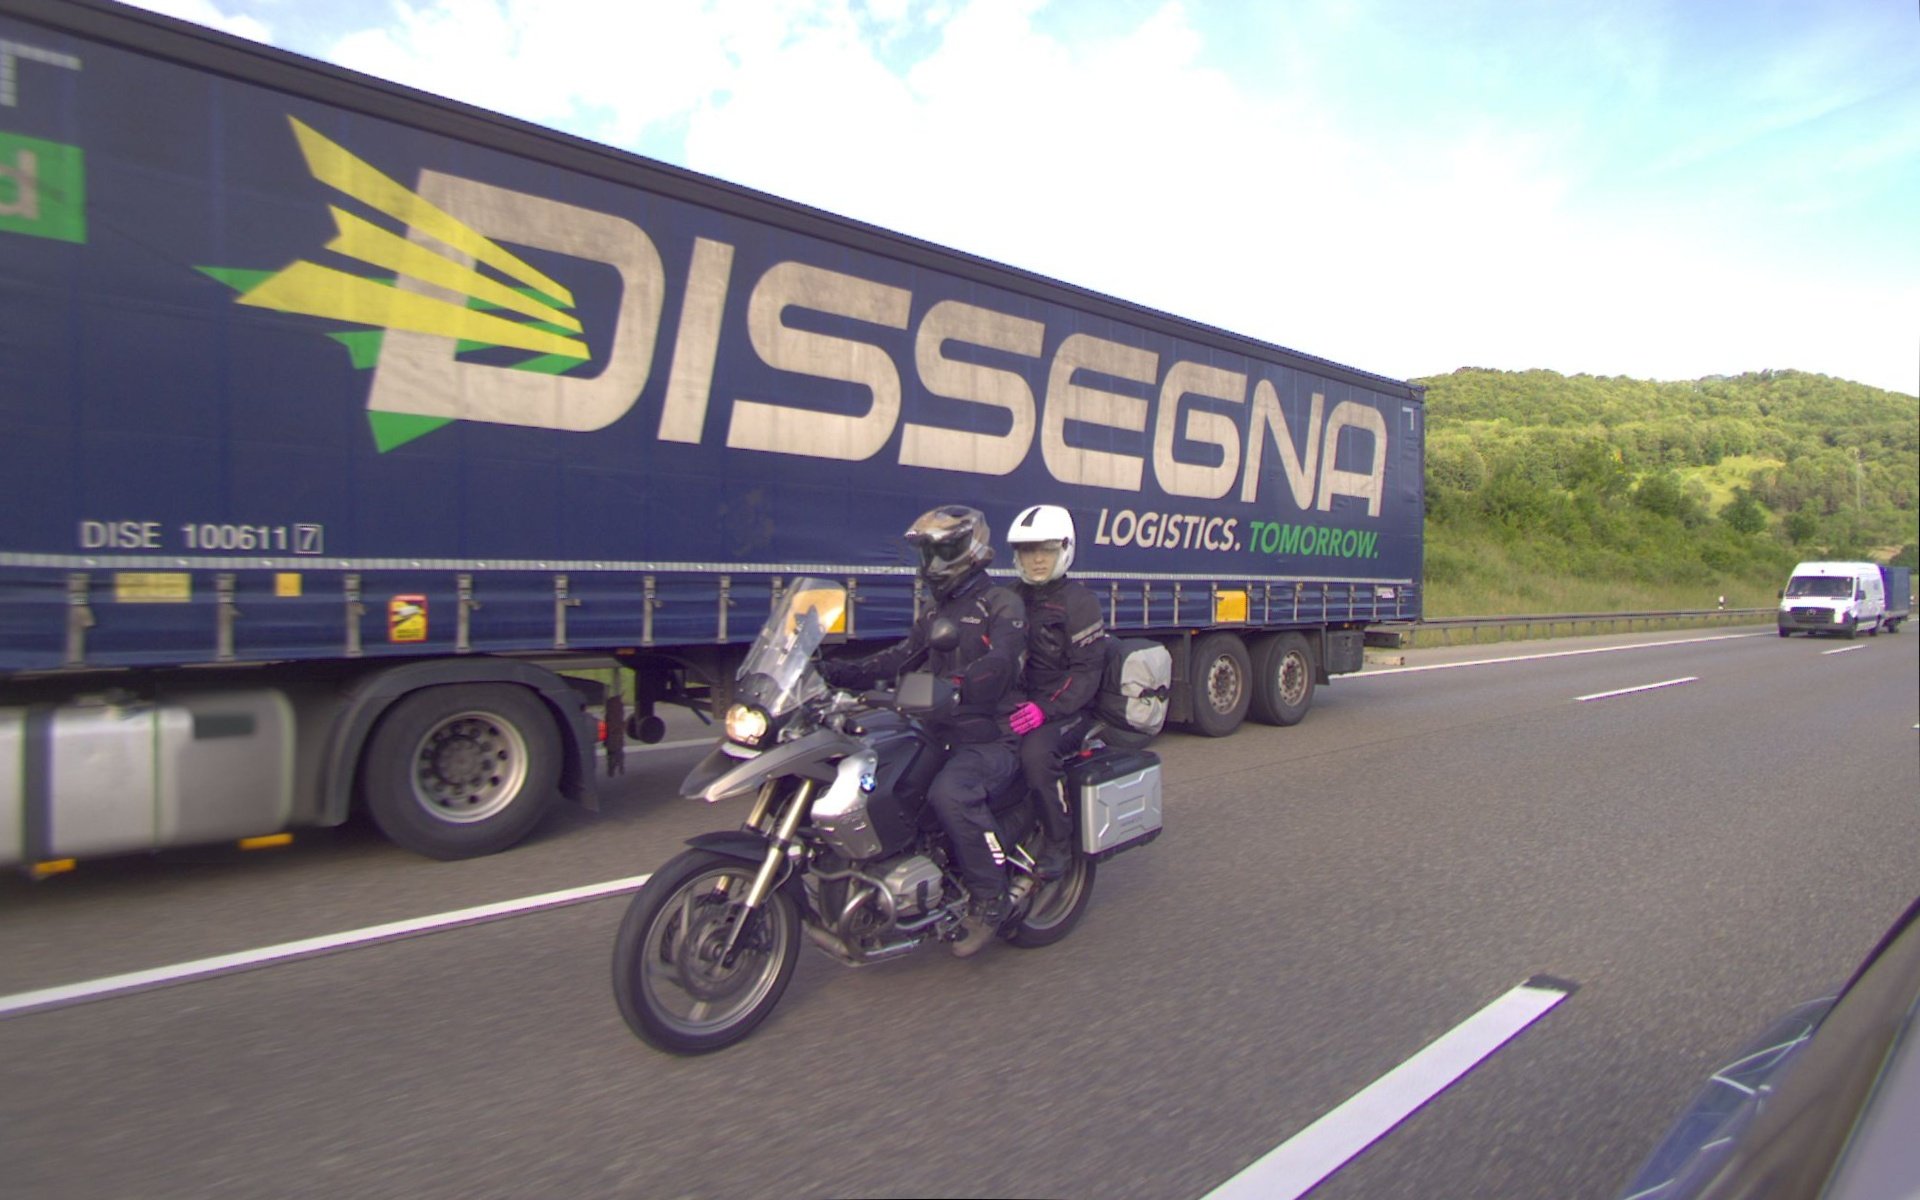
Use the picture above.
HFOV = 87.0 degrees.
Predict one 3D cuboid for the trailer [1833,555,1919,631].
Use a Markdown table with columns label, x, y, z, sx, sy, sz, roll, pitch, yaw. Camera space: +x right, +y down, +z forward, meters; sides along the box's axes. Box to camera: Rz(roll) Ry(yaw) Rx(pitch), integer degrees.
| label | x | y | z | sx | sy | sz | roll | pitch | yaw |
| --- | --- | --- | --- | --- | --- | --- | --- | --- | --- |
| trailer | 35.709 | -0.288 | 39.225 | 5.155 | 2.760 | 1.998 | 0 | 0 | -39 |

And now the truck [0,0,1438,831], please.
| label | x | y | z | sx | sy | sz | roll | pitch | yaw |
| --- | --- | --- | --- | --- | --- | --- | --- | --- | --- |
| truck | -1.447 | -1.109 | 8.317 | 17.421 | 4.042 | 2.969 | 0 | 0 | -41 |

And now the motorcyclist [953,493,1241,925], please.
| label | x | y | z | sx | sy | sz | roll | pitch | yaw |
| --- | --- | --- | --- | --- | --- | --- | --- | --- | --- |
| motorcyclist | 0.550 | 0.381 | 4.187 | 0.783 | 1.534 | 0.879 | 0 | 0 | -37 |

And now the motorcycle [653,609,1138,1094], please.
| label | x | y | z | sx | sy | sz | roll | pitch | yaw |
| --- | --- | --- | --- | --- | --- | --- | --- | --- | --- |
| motorcycle | -0.165 | 0.724 | 3.669 | 1.707 | 1.356 | 0.628 | 0 | 0 | -39 |

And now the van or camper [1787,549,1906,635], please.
| label | x | y | z | sx | sy | sz | roll | pitch | yaw |
| --- | --- | --- | --- | --- | --- | --- | --- | --- | --- |
| van or camper | 31.111 | -0.255 | 35.413 | 7.388 | 2.752 | 1.998 | 0 | 0 | -40 |
